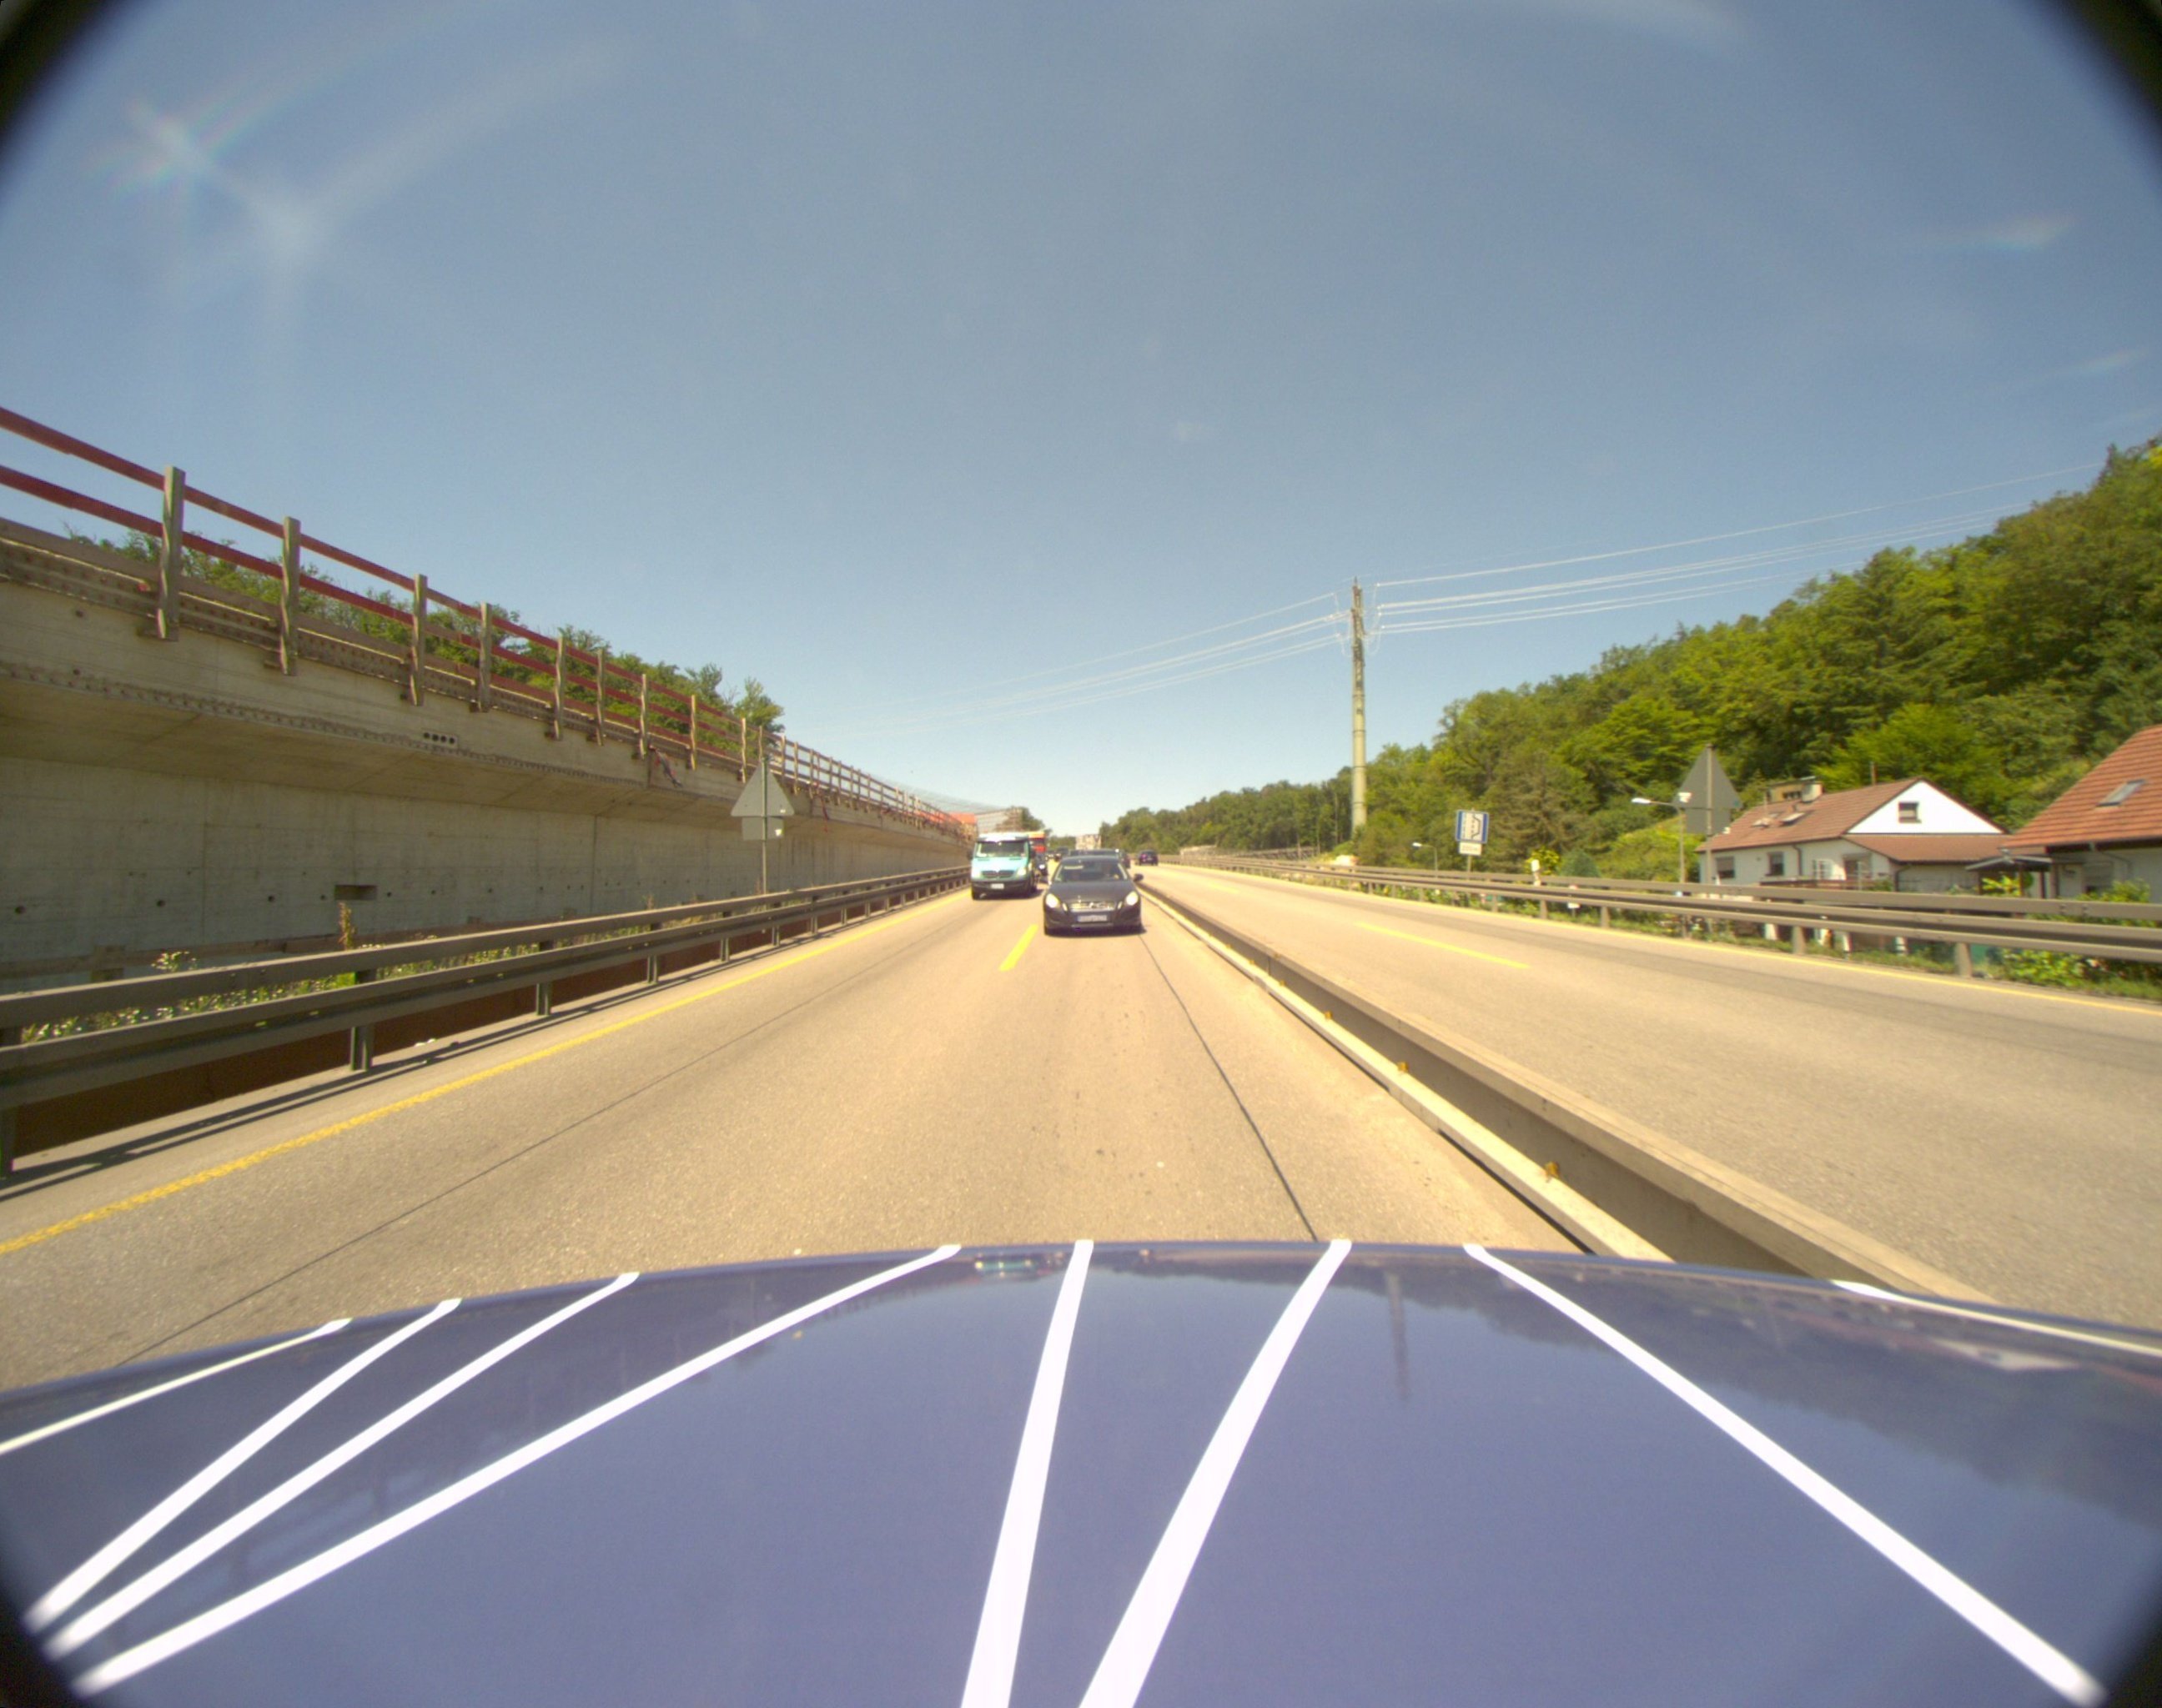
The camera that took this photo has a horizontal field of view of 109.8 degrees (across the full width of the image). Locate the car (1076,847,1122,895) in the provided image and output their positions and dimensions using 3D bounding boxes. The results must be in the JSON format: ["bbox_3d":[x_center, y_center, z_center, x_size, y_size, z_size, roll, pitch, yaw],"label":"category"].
[{"bbox_3d":[0.598,0.557,27.410,1.520,1.543,3.860,-1,1,0],"label":"car"}]

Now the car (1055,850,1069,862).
[{"bbox_3d":[-2.333,0.239,95.316,1.586,1.366,3.344,-2,1,0],"label":"car"}]

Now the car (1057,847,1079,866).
[{"bbox_3d":[-1.004,0.194,61.401,1.647,1.366,3.344,-2,1,0],"label":"car"}]

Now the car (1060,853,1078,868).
[{"bbox_3d":[-1.221,0.650,77.181,1.647,1.366,3.343,-2,1,-3],"label":"car"}]

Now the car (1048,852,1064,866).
[{"bbox_3d":[-2.833,0.545,85.576,1.647,1.366,3.344,-2,1,0],"label":"car"}]

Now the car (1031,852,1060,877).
[{"bbox_3d":[-2.258,0.646,49.093,1.739,1.401,3.584,-2,1,0],"label":"car"}]

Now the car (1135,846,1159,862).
[{"bbox_3d":[6.110,-0.022,71.018,1.846,1.410,4.686,0,1,1],"label":"car"}]

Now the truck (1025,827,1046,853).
[{"bbox_3d":[-6.388,-1.929,105.452,2.472,3.464,9.862,-2,1,-5],"label":"truck"}]

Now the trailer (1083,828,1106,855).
[{"bbox_3d":[2.242,-2.182,132.140,3.261,4.353,14.053,-2,1,-2],"label":"trailer"}]

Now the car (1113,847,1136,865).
[{"bbox_3d":[3.562,0.138,62.611,1.722,1.400,4.000,0,0,1],"label":"car"}]

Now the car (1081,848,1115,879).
[{"bbox_3d":[0.927,0.509,42.810,1.736,1.558,3.618,-2,1,0],"label":"car"}]

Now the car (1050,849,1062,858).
[{"bbox_3d":[-3.986,-0.118,121.555,1.586,1.366,3.344,-2,1,0],"label":"car"}]

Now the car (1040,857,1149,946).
[{"bbox_3d":[0.118,0.830,15.499,1.844,1.475,4.561,-1,0,-3],"label":"car"}]

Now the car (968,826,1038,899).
[{"bbox_3d":[-2.731,0.222,28.181,2.218,2.312,6.898,-1,1,-3],"label":"car"}]
